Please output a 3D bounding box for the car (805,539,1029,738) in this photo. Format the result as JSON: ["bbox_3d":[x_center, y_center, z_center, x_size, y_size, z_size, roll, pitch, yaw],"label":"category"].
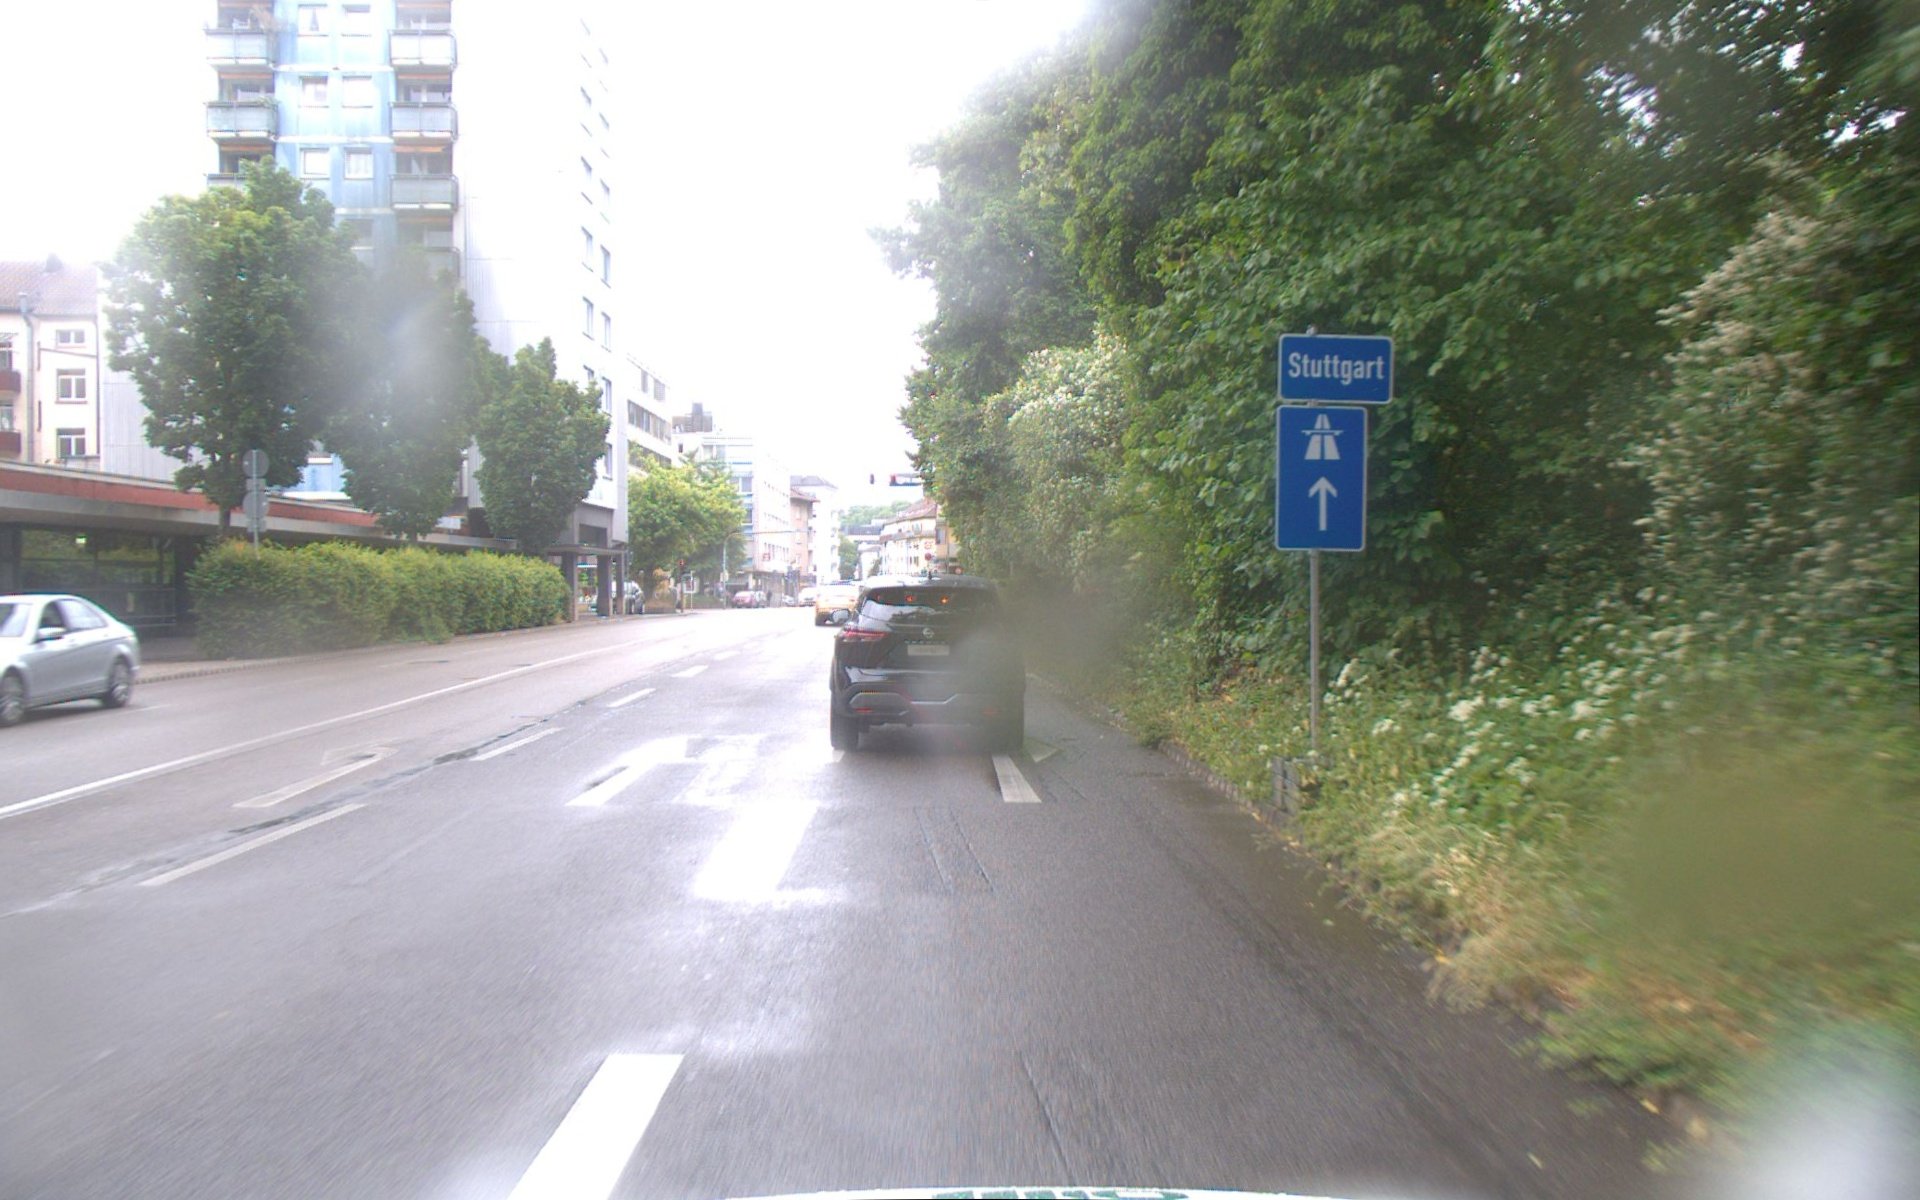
[{"bbox_3d":[-0.454,0.303,16.317,1.920,1.681,3.998,-1,1,-3],"label":"car"}]

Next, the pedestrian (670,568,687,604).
[{"bbox_3d":[-16.295,-0.831,95.741,0.923,2.049,0.884,-1,1,-11],"label":"pedestrian"}]

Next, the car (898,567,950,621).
[{"bbox_3d":[-1.439,-0.245,65.187,1.953,2.049,3.999,0,1,-2],"label":"car"}]

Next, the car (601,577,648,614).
[{"bbox_3d":[-16.336,-0.243,80.691,1.508,1.735,4.286,1,0,-1],"label":"car"}]

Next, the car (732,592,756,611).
[{"bbox_3d":[-18.107,0.135,138.649,1.639,1.504,3.606,-2,0,-3],"label":"car"}]

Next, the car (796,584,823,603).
[{"bbox_3d":[-12.297,-0.578,135.015,1.956,1.478,3.992,-1,1,-9],"label":"car"}]

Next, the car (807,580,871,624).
[{"bbox_3d":[-4.233,0.044,58.478,2.024,1.489,4.586,0,1,-1],"label":"car"}]

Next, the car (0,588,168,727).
[{"bbox_3d":[-11.031,0.615,19.093,1.837,1.414,4.622,-2,1,-5],"label":"car"}]
